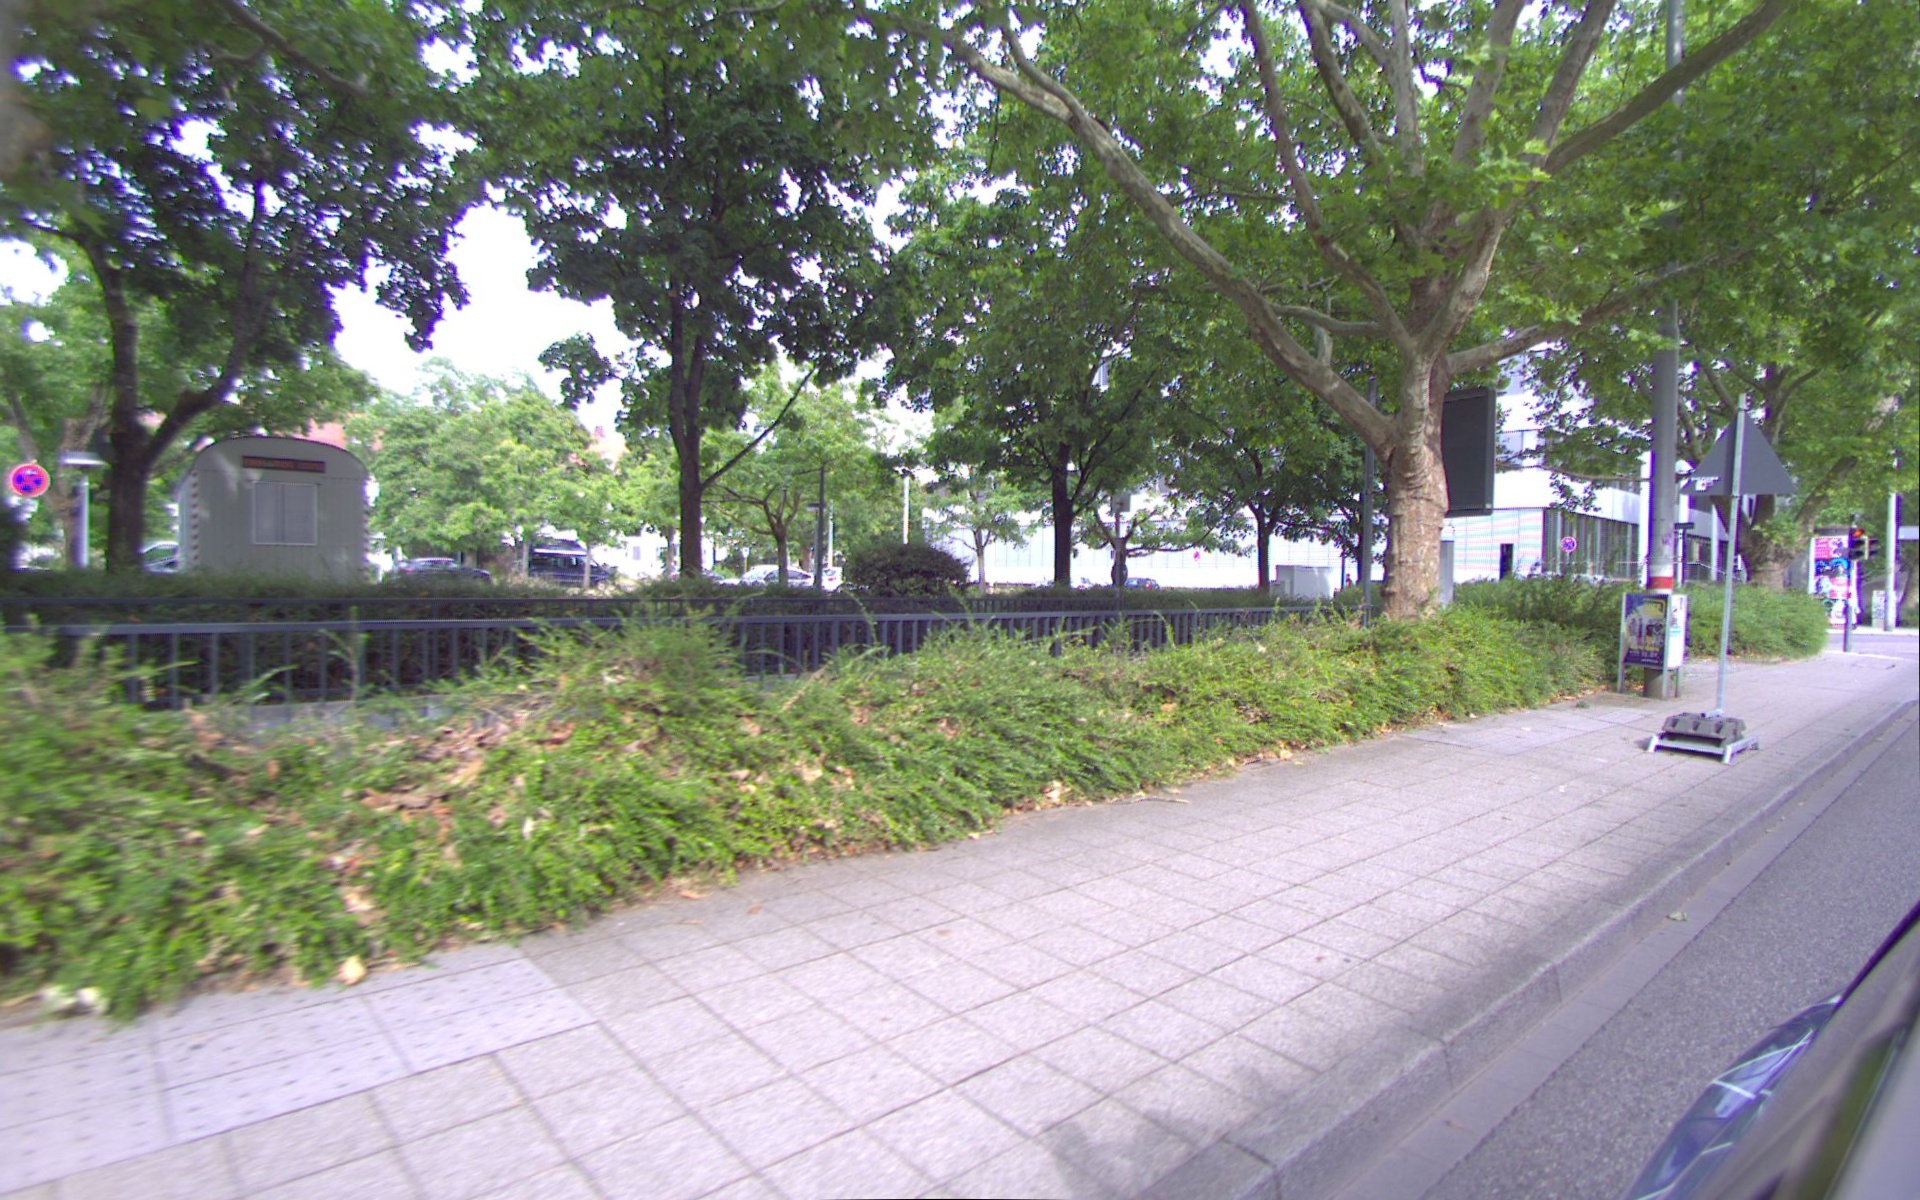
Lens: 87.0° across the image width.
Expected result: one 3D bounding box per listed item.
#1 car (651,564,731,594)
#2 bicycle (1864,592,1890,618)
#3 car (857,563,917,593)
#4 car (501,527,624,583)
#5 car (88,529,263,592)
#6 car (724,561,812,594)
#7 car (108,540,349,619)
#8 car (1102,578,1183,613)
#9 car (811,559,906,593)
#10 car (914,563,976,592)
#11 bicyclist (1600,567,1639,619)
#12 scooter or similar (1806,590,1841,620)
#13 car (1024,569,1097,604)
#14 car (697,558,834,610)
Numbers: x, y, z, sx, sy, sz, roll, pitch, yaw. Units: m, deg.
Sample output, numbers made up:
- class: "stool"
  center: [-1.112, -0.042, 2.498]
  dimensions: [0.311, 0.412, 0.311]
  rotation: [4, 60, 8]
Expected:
- class: "car"
  center: [-17.308, -1.309, 65.268]
  dimensions: [1.994, 1.817, 4.696]
  rotation: [0, 0, 45]
- class: "bicycle"
  center: [42.326, 0.231, 46.697]
  dimensions: [1.696, 1.184, 0.699]
  rotation: [0, -1, -42]
- class: "car"
  center: [-5.184, -1.500, 71.379]
  dimensions: [3.980, 2.039, 1.971]
  rotation: [0, 0, 40]
- class: "car"
  center: [-20.431, -2.226, 52.208]
  dimensions: [5.406, 2.647, 2.436]
  rotation: [0, 0, -45]
- class: "car"
  center: [-27.917, -1.329, 36.147]
  dimensions: [1.993, 2.039, 4.698]
  rotation: [0, 0, 43]
- class: "car"
  center: [-10.978, -1.255, 58.026]
  dimensions: [4.695, 1.817, 1.994]
  rotation: [0, 0, -45]
- class: "car"
  center: [-18.375, -0.468, 25.575]
  dimensions: [1.994, 1.817, 4.696]
  rotation: [0, 0, 45]
- class: "car"
  center: [10.093, -0.239, 56.120]
  dimensions: [3.980, 1.883, 1.971]
  rotation: [0, 0, 40]
- class: "car"
  center: [-5.256, -1.213, 52.932]
  dimensions: [4.689, 1.651, 1.997]
  rotation: [0, 0, -41]
- class: "car"
  center: [-1.003, -1.485, 67.997]
  dimensions: [3.860, 1.885, 1.926]
  rotation: [0, 0, 40]
- class: "bicyclist"
  center: [22.165, -0.244, 34.035]
  dimensions: [0.899, 1.699, 0.831]
  rotation: [-1, 2, -37]
- class: "scooter or similar"
  center: [35.059, 0.183, 41.101]
  dimensions: [0.465, 1.151, 1.305]
  rotation: [3, 3, 14]
- class: "car"
  center: [6.008, -0.796, 60.543]
  dimensions: [3.980, 2.039, 1.971]
  rotation: [0, 0, 40]
- class: "car"
  center: [-7.148, -0.555, 37.485]
  dimensions: [1.994, 1.817, 4.696]
  rotation: [0, 0, 45]
